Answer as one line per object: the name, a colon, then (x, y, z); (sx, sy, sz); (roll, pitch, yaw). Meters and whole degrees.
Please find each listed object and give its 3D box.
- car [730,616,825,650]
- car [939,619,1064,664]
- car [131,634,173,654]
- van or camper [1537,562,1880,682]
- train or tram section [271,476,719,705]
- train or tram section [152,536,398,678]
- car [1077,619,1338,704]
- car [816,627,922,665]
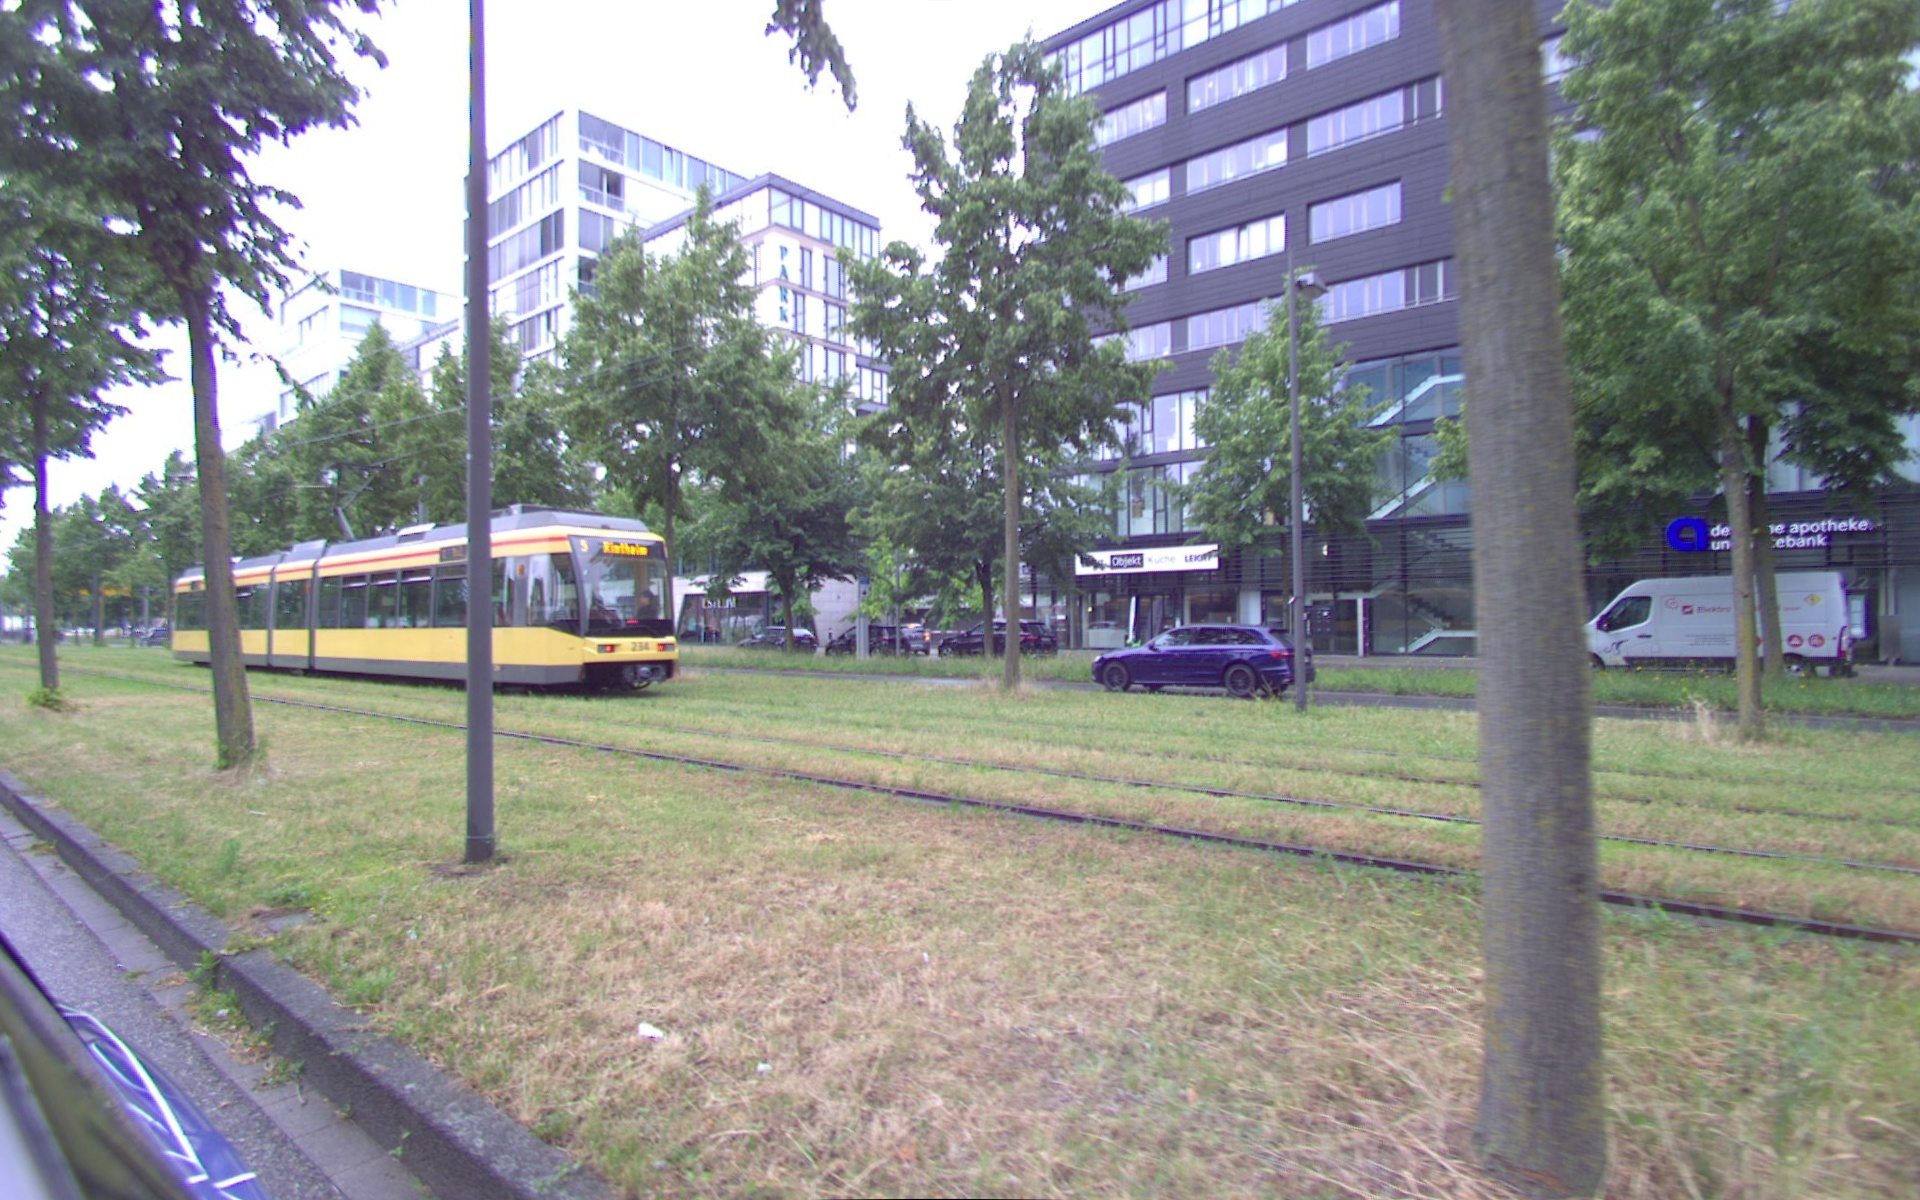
car: (-7.921, 1.405, 43.790); (3.998, 1.389, 1.973); (-2, -1, 41)
car: (1.411, 1.443, 35.399); (4.239, 1.460, 1.684); (-2, -1, 41)
car: (-64.703, 3.528, 81.026); (4.477, 1.536, 1.843); (-2, -2, 41)
van or camper: (16.433, 0.505, 22.524); (5.847, 2.333, 2.408); (-2, -1, 41)
train or tram section: (-11.147, 0.032, 22.420); (15.055, 3.687, 3.096); (-2, -1, 41)
train or tram section: (-21.928, 0.350, 31.810); (13.398, 3.687, 3.096); (-2, -1, 41)
car: (5.008, 1.206, 20.912); (4.868, 1.533, 1.973); (-2, -1, 40)
car: (-3.627, 1.798, 40.003); (3.998, 1.389, 1.973); (-2, -1, 41)
